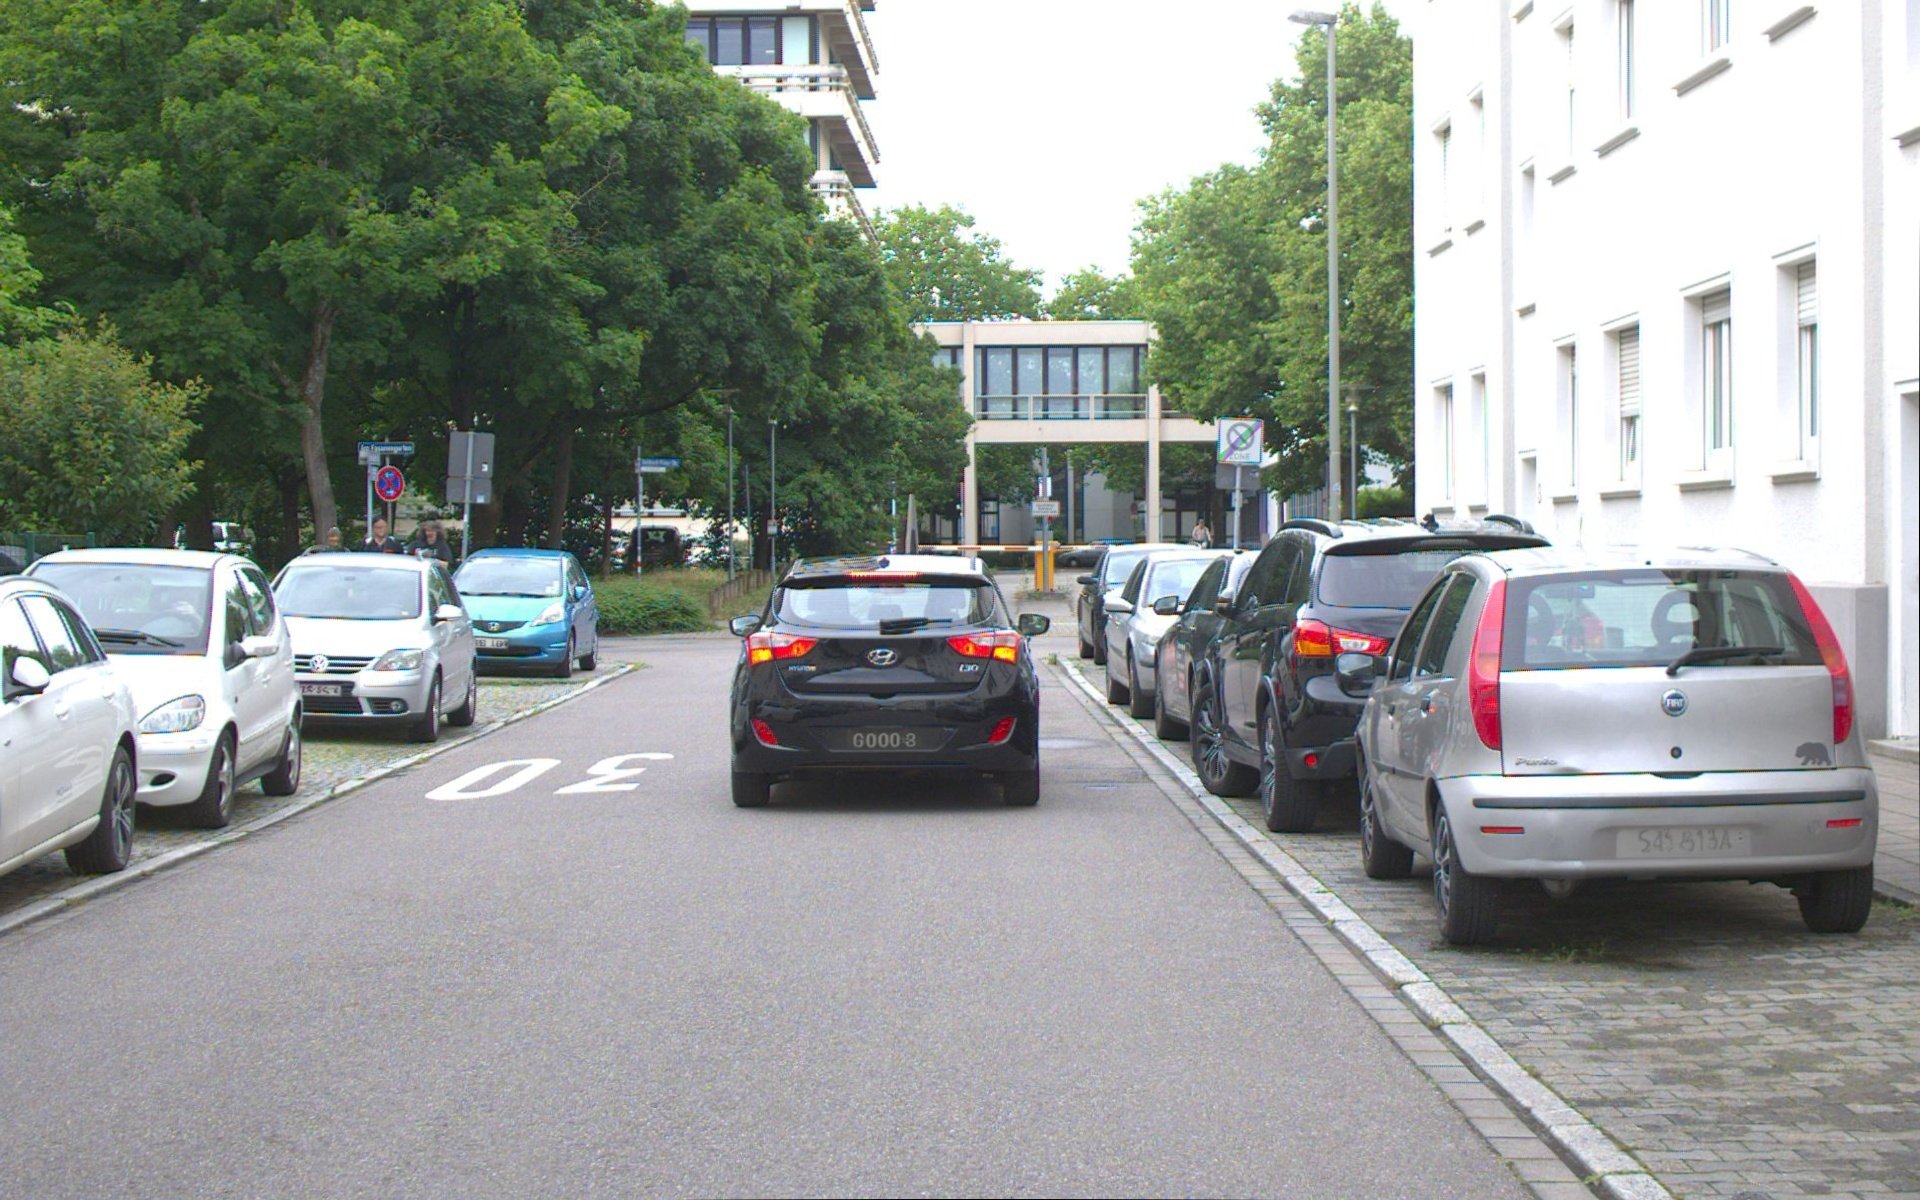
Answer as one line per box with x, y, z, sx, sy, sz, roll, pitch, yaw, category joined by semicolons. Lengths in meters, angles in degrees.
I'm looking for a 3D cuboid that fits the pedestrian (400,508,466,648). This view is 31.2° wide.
-6.959;-0.298;45.419;0.714;1.825;0.797;0;1;2;pedestrian

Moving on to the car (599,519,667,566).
-9.532;-1.695;100.401;1.665;1.328;3.396;0;1;0;car

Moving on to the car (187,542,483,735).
-5.324;0.280;29.769;1.993;1.536;4.001;1;1;-3;car

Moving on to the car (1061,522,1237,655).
2.275;-0.175;42.411;1.820;1.514;4.674;-1;1;-1;car

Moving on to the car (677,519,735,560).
-8.395;-2.024;113.833;1.665;1.328;3.396;0;1;0;car

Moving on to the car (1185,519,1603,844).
2.280;0.363;19.046;1.820;1.597;4.091;0;1;0;car

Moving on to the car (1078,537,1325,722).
2.095;0.205;30.962;1.820;1.514;4.674;0;1;-1;car

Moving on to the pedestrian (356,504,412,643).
-7.651;-0.358;45.675;0.605;1.825;0.675;0;1;2;pedestrian

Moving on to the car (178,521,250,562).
-24.778;-1.966;114.335;1.665;1.328;3.396;0;1;0;car

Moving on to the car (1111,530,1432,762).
2.148;0.254;24.902;1.820;1.514;4.674;0;1;-1;car

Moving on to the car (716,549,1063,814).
-0.379;0.421;21.104;1.903;1.428;4.233;-1;1;0;car

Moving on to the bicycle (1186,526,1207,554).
8.686;-2.203;126.311;0.693;0.993;1.735;0;1;1;bicycle

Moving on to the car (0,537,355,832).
-5.150;0.433;21.567;1.895;1.593;4.521;2;1;0;car

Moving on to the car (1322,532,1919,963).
2.636;0.490;14.335;1.820;1.498;4.091;-1;1;0;car

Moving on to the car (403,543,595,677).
-5.601;0.084;42.194;1.993;1.536;4.001;1;1;-3;car

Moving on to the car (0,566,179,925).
-4.952;0.588;15.332;1.895;1.447;4.521;2;1;0;car

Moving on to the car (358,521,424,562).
-18.850;-1.948;113.981;1.665;1.328;3.396;0;1;0;car

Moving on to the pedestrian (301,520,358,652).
-8.255;-0.191;45.024;0.600;1.707;0.648;0;1;2;pedestrian

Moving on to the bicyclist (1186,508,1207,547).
8.693;-2.660;126.338;0.693;1.439;0.795;0;1;0;bicyclist
